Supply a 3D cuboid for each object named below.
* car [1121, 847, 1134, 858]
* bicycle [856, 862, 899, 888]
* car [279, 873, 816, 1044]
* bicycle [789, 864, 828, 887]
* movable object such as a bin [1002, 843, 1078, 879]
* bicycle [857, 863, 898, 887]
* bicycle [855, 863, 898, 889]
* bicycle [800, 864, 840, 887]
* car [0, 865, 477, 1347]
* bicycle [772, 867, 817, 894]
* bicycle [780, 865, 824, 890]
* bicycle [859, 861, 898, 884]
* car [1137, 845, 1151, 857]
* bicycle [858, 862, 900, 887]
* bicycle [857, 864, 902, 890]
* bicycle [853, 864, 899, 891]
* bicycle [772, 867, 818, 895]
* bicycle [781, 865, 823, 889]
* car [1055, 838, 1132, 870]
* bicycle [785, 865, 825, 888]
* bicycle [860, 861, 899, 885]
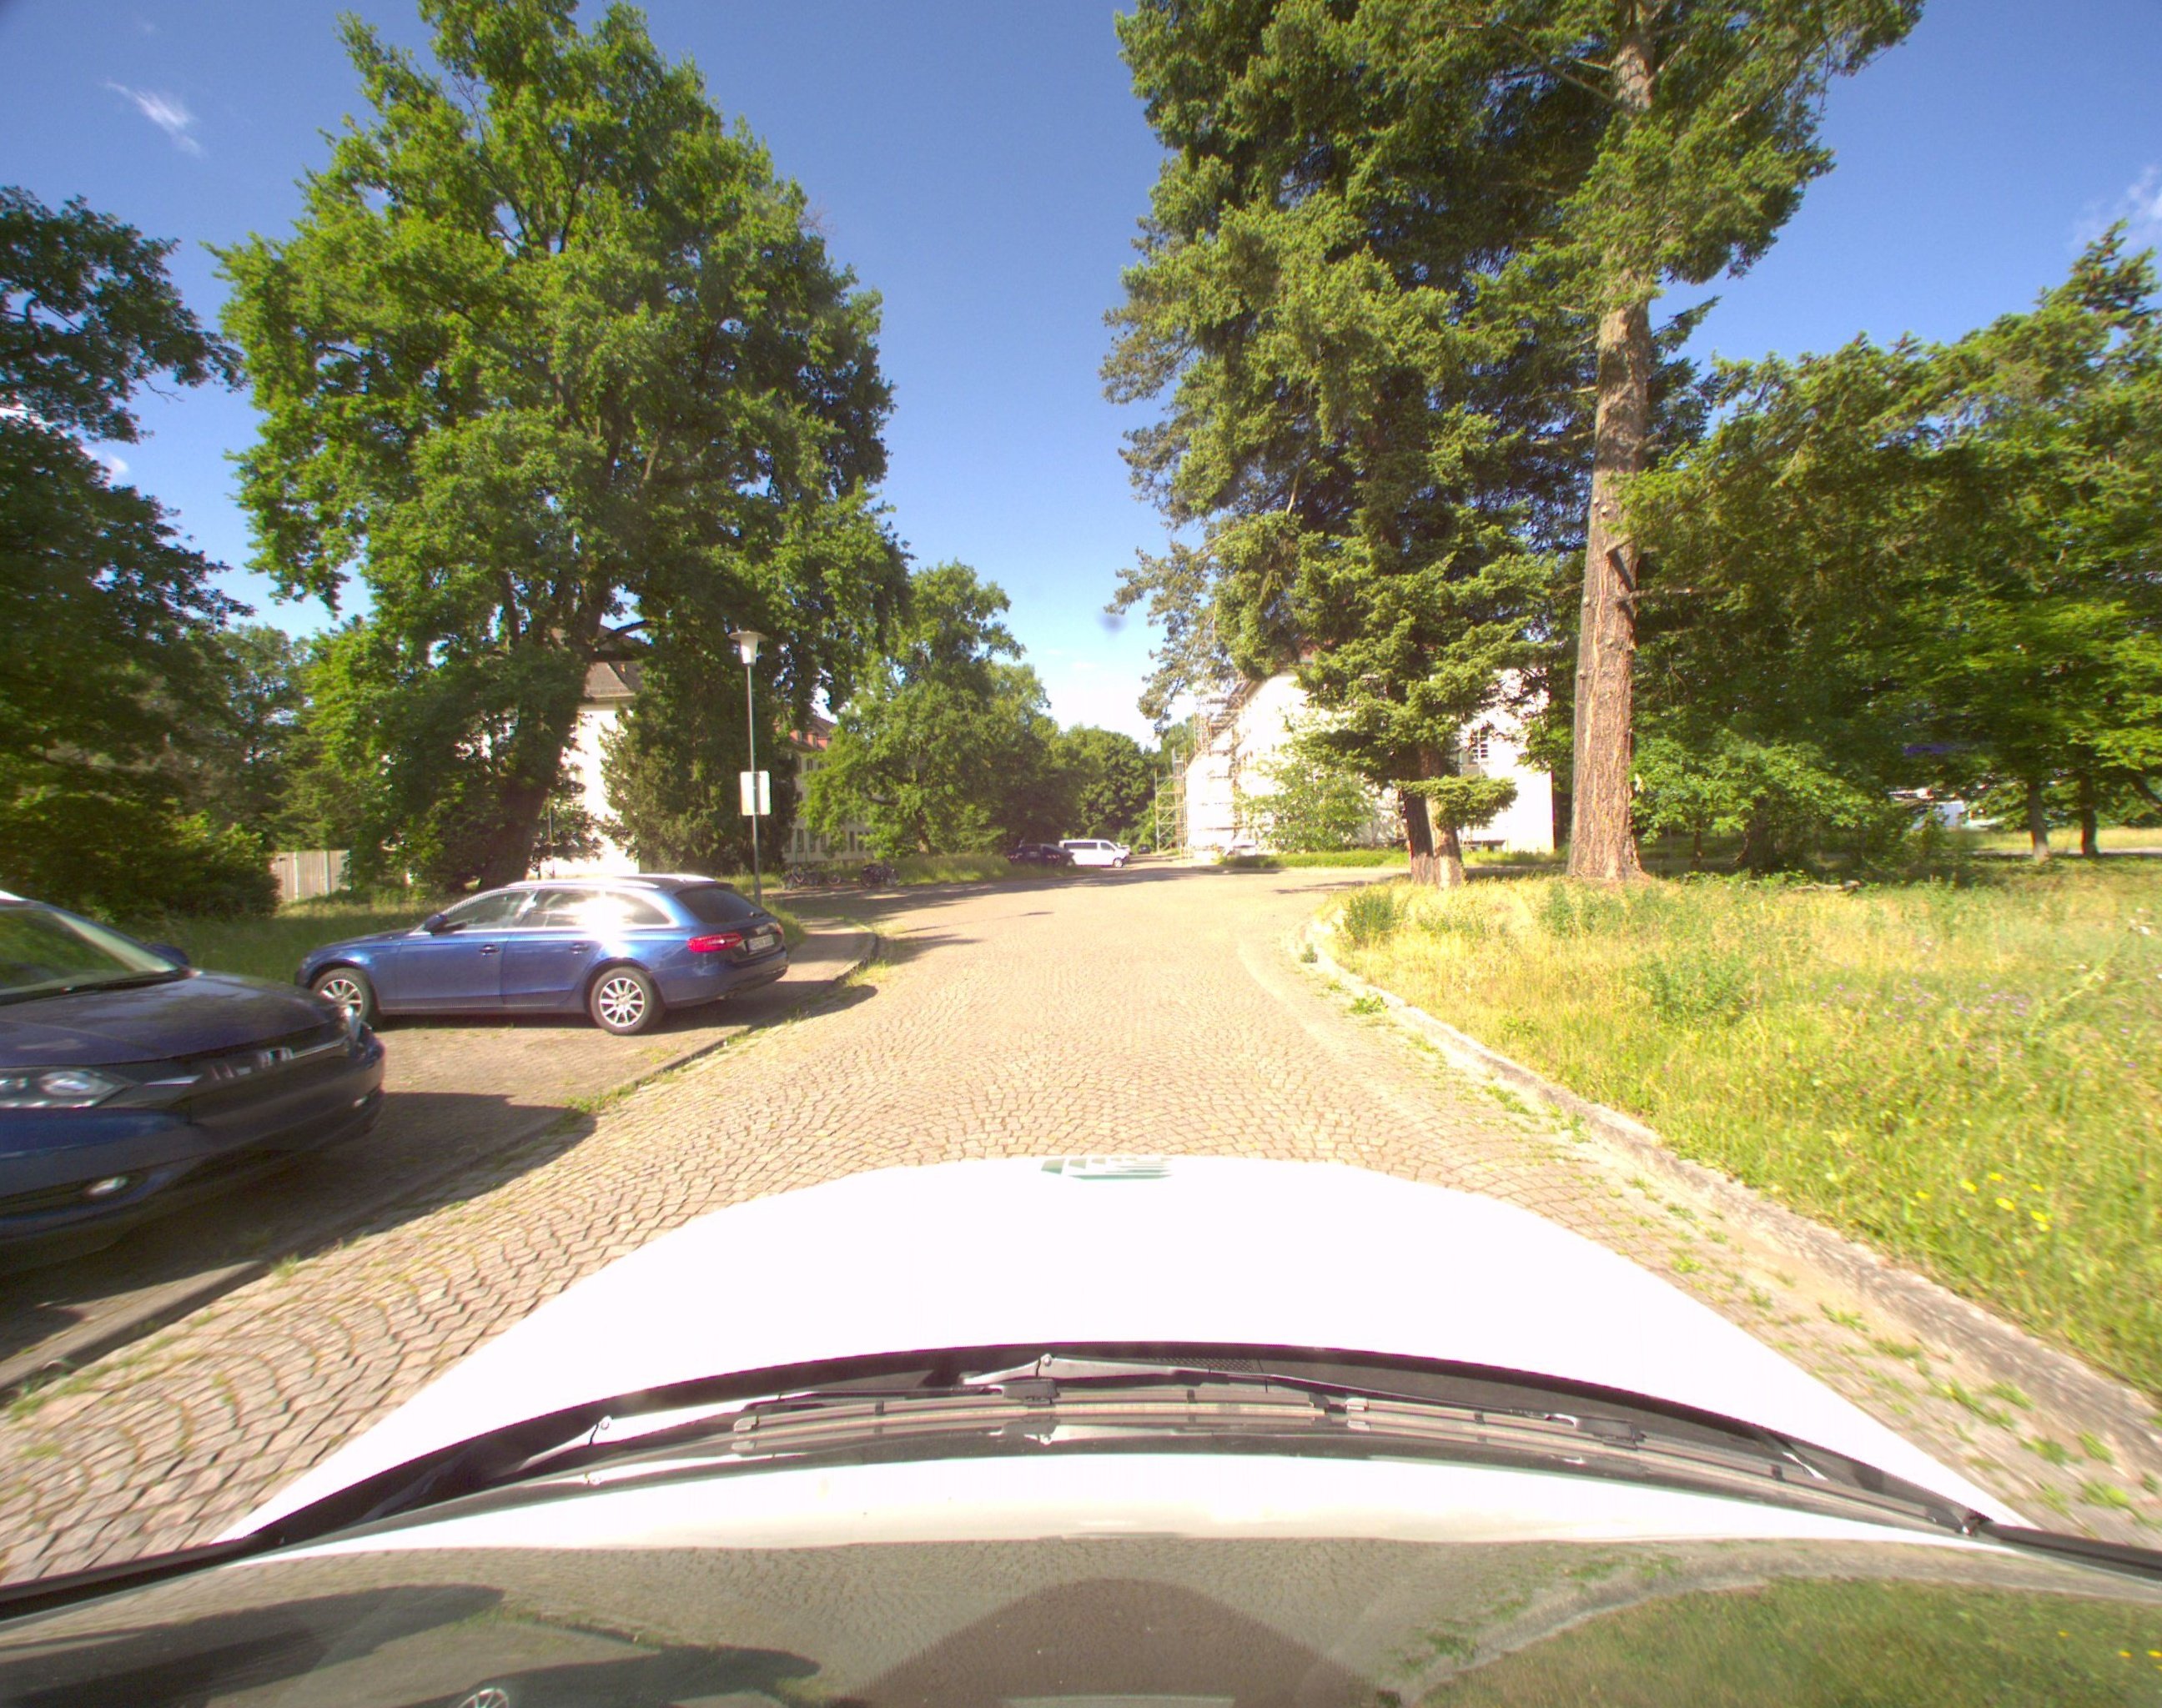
[{"bbox_3d":[7.063,-0.266,123.027,1.805,1.579,4.137,-3,0,2],"label":"car"},{"bbox_3d":[-9.788,0.999,39.222,1.920,1.058,0.473,-4,1,-20],"label":"bicycle"},{"bbox_3d":[-5.276,1.003,8.446,4.338,1.445,1.924,-1,1,5],"label":"car"},{"bbox_3d":[-14.548,1.158,43.519,1.920,1.102,0.566,-2,2,-21],"label":"bicycle"},{"bbox_3d":[-2.209,0.375,44.163,3.535,1.744,2.035,-3,0,21],"label":"movable object such as a bin"},{"bbox_3d":[-10.194,1.036,40.842,1.919,1.058,0.473,-4,1,-19],"label":"bicycle"},{"bbox_3d":[-9.704,1.050,38.655,1.920,1.058,0.473,-4,1,-20],"label":"bicycle"},{"bbox_3d":[-13.450,1.104,42.013,1.917,1.102,0.567,-2,2,-17],"label":"bicycle"},{"bbox_3d":[-5.567,0.916,3.767,4.118,1.579,1.886,-1,1,2],"label":"car"},{"bbox_3d":[-13.340,1.229,37.960,1.921,1.102,0.566,-3,2,-22],"label":"bicycle"},{"bbox_3d":[-13.578,1.127,39.630,1.923,1.102,0.565,-2,2,-26],"label":"bicycle"},{"bbox_3d":[-10.837,0.991,43.540,1.919,1.058,0.473,-4,1,-19],"label":"bicycle"},{"bbox_3d":[9.467,-0.420,123.234,1.963,1.668,4.089,-3,0,2],"label":"car"},{"bbox_3d":[-9.931,1.001,40.018,1.920,1.058,0.473,-4,1,-20],"label":"bicycle"},{"bbox_3d":[-9.317,1.062,37.647,1.923,1.058,0.472,-4,1,-27],"label":"bicycle"},{"bbox_3d":[-9.330,1.079,37.092,1.923,1.058,0.472,-4,1,-27],"label":"bicycle"},{"bbox_3d":[-13.151,1.231,37.457,1.921,1.102,0.566,-3,2,-22],"label":"bicycle"},{"bbox_3d":[-14.040,1.145,40.950,1.923,1.102,0.565,-2,2,-26],"label":"bicycle"},{"bbox_3d":[0.891,0.010,57.158,5.214,2.016,1.951,-2,0,2],"label":"car"},{"bbox_3d":[-14.388,1.155,42.567,1.917,1.102,0.567,-2,2,-17],"label":"bicycle"},{"bbox_3d":[-10.540,0.983,42.623,1.919,1.058,0.473,-4,1,-19],"label":"bicycle"}]
